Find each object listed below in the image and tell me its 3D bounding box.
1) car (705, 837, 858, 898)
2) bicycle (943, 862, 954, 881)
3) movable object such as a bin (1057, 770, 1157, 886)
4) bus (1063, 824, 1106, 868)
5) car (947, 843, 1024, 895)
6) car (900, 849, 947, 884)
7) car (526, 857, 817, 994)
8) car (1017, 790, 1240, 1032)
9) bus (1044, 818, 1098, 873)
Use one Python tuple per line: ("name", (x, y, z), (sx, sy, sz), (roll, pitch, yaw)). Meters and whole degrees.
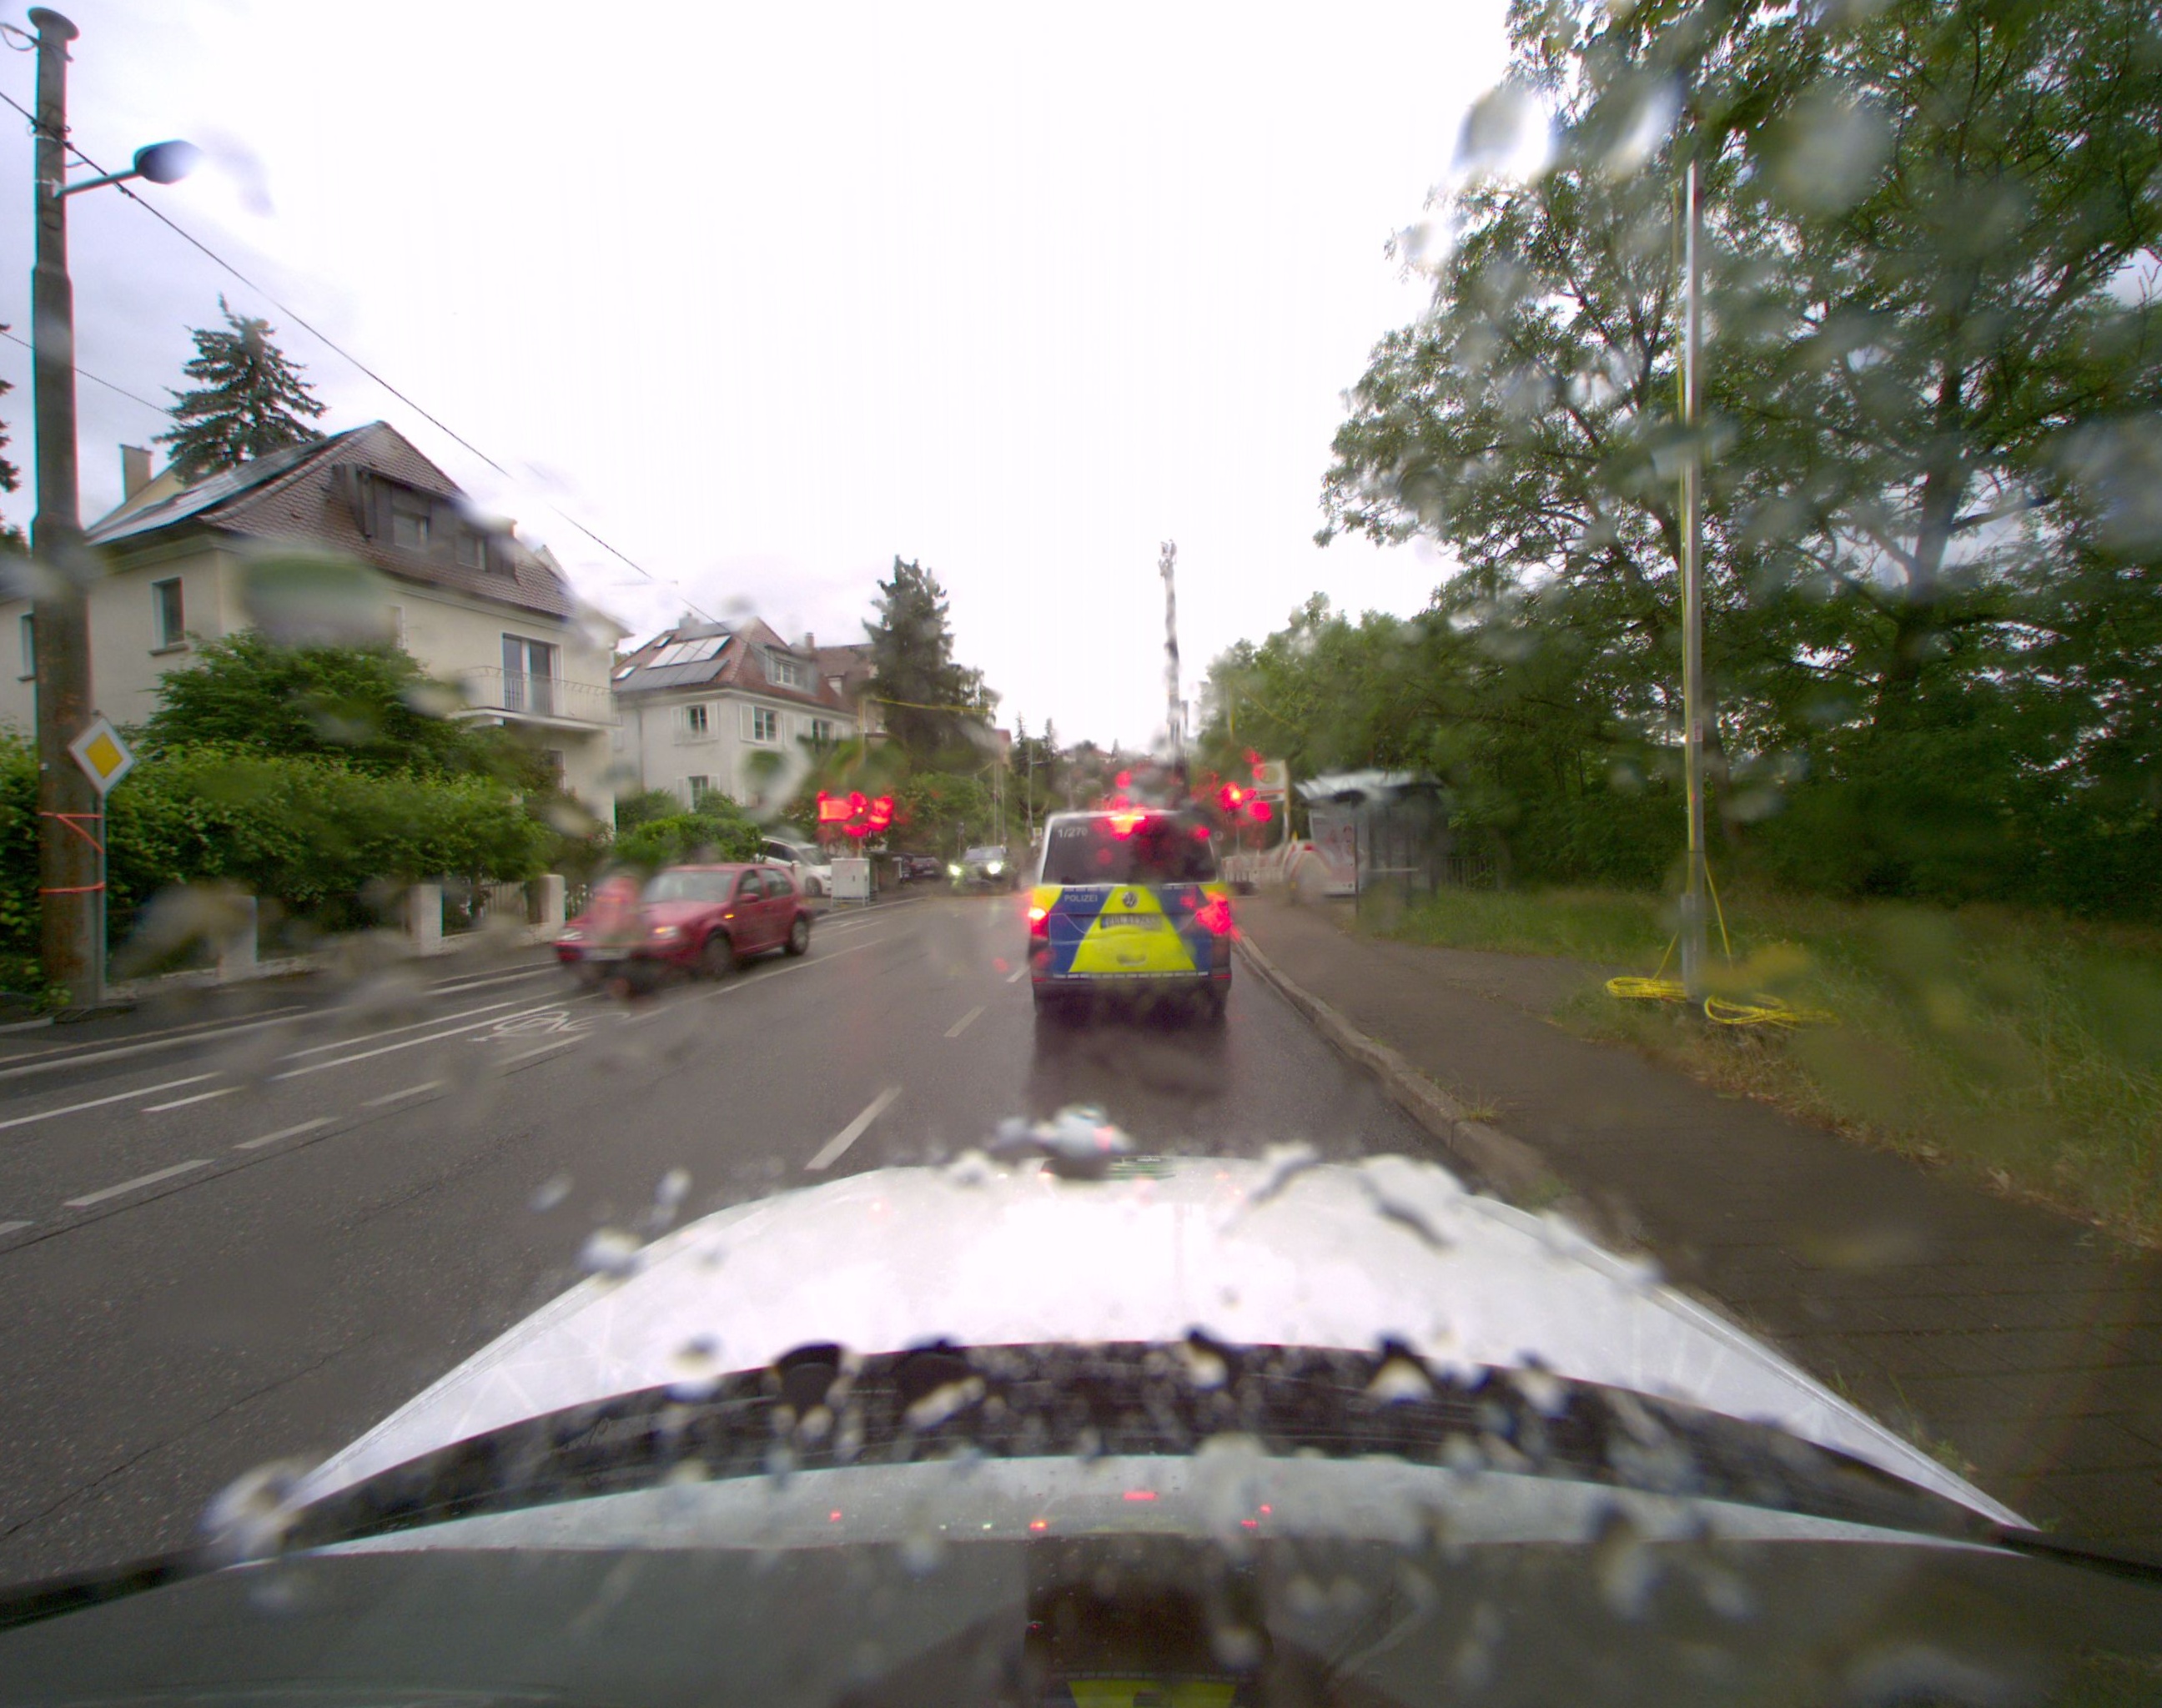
("car", (-10.274, 0.460, 28.053), (4.599, 2.007, 1.907), (0, 0, 13))
("bicycle", (-6.494, 0.828, 39.886), (0.463, 0.897, 1.627), (-1, 0, -12))
("movable object such as a bin", (1.112, -0.928, 31.768), (2.809, 4.177, 4.400), (0, 0, 17))
("bus", (0.462, -0.660, 73.738), (2.827, 3.625, 12.022), (0, 0, 5))
("car", (-3.406, 0.501, 29.946), (1.970, 1.748, 4.558), (0, 0, 4))
("car", (-7.448, 0.557, 38.296), (1.770, 1.486, 3.720), (0, 1, -17))
("car", (-5.178, 0.806, 10.973), (1.757, 1.463, 3.889), (-1, 0, 3))
("car", (0.467, 0.485, 8.937), (1.886, 2.050, 4.002), (0, 0, 2))
("bus", (-0.578, -0.596, 61.881), (2.827, 3.718, 12.022), (0, 0, 5))
